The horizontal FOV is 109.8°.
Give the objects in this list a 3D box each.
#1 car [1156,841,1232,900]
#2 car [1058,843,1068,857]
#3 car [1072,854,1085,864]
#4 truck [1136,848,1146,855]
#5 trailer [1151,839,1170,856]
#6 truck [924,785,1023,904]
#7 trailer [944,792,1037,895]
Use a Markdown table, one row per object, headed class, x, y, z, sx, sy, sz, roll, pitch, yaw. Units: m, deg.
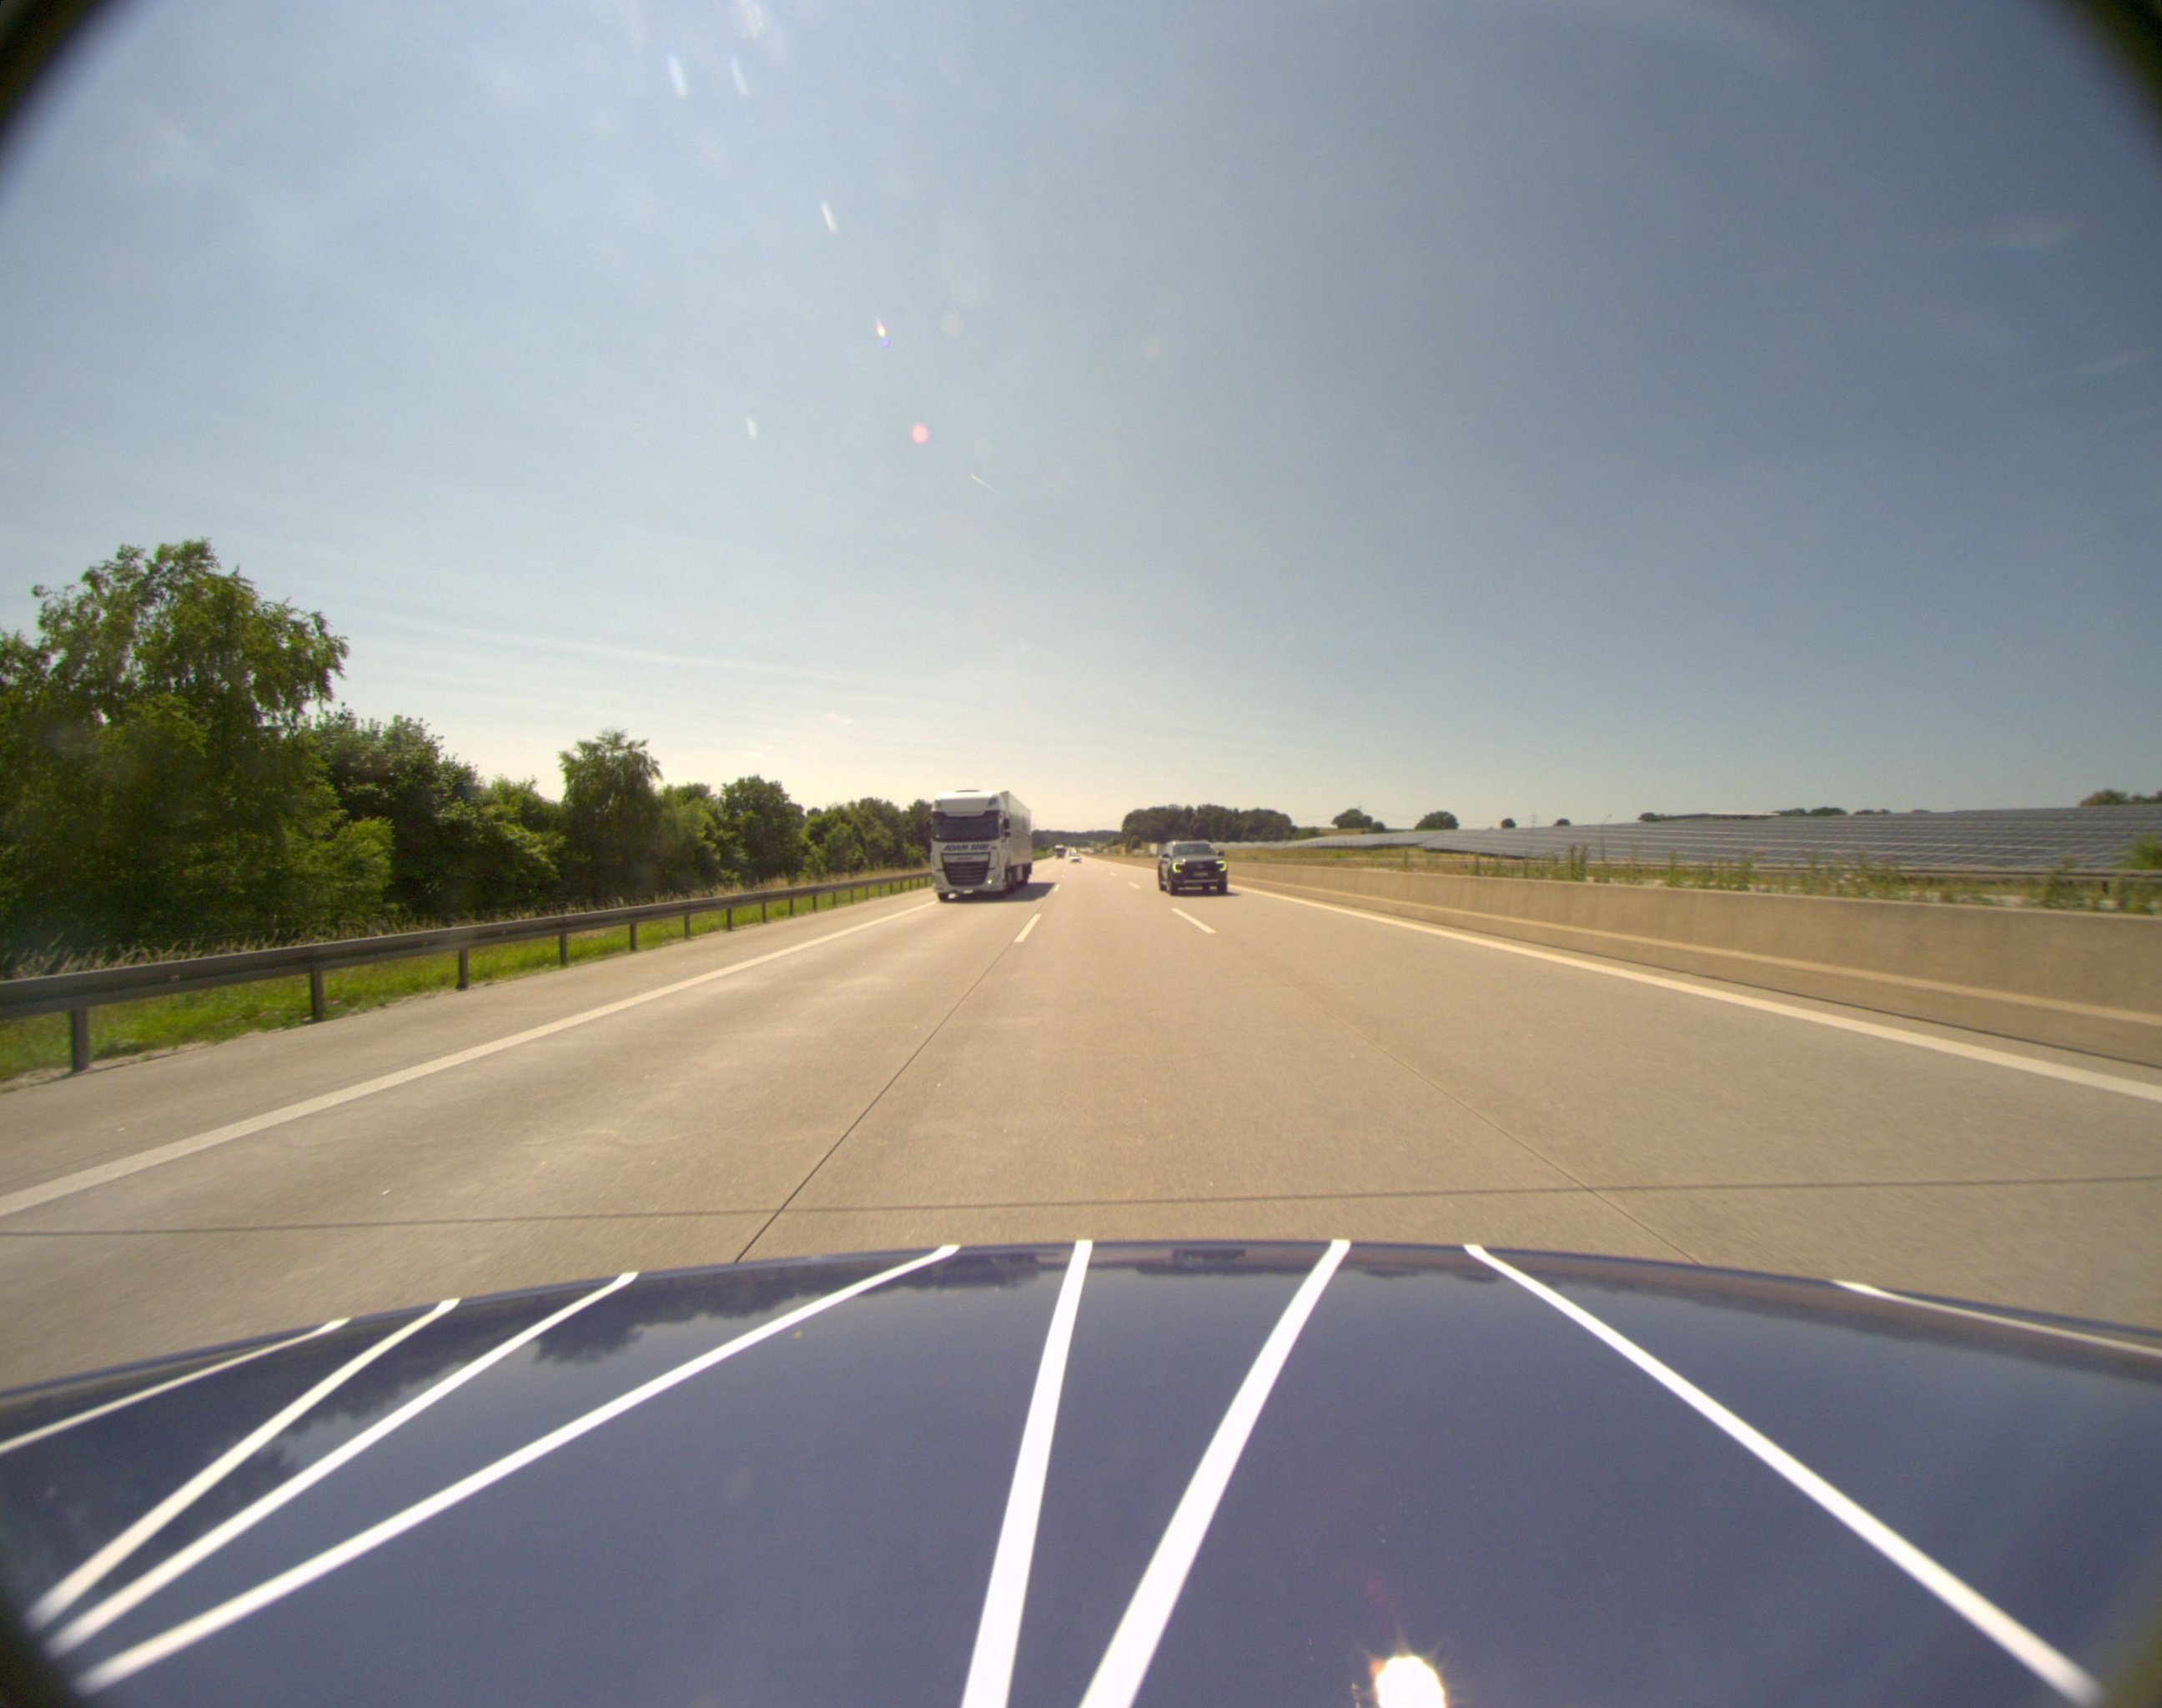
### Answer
| class | x | y | z | sx | sy | sz | roll | pitch | yaw |
| --- | --- | --- | --- | --- | --- | --- | --- | --- | --- |
| car | 3.954 | 0.505 | 27.765 | 1.998 | 1.836 | 6.530 | -2 | 1 | 2 |
| car | -5.585 | -1.264 | 238.151 | 2.766 | 4.029 | 10.850 | 0 | 0 | -1 |
| car | -0.452 | 0.774 | 125.923 | 2.065 | 1.472 | 5.068 | -1 | 0 | -1 |
| truck | 19.006 | -0.854 | 240.133 | 2.523 | 2.002 | 7.628 | -2 | 1 | -1 |
| trailer | 19.994 | -1.571 | 191.176 | 3.098 | 3.981 | 14.137 | -2 | 1 | -1 |
| truck | -3.954 | -0.337 | 29.220 | 2.819 | 4.064 | 5.798 | -1 | 1 | 0 |
| trailer | -3.968 | -0.446 | 36.665 | 2.860 | 4.019 | 12.711 | -1 | 0 | 0 |
